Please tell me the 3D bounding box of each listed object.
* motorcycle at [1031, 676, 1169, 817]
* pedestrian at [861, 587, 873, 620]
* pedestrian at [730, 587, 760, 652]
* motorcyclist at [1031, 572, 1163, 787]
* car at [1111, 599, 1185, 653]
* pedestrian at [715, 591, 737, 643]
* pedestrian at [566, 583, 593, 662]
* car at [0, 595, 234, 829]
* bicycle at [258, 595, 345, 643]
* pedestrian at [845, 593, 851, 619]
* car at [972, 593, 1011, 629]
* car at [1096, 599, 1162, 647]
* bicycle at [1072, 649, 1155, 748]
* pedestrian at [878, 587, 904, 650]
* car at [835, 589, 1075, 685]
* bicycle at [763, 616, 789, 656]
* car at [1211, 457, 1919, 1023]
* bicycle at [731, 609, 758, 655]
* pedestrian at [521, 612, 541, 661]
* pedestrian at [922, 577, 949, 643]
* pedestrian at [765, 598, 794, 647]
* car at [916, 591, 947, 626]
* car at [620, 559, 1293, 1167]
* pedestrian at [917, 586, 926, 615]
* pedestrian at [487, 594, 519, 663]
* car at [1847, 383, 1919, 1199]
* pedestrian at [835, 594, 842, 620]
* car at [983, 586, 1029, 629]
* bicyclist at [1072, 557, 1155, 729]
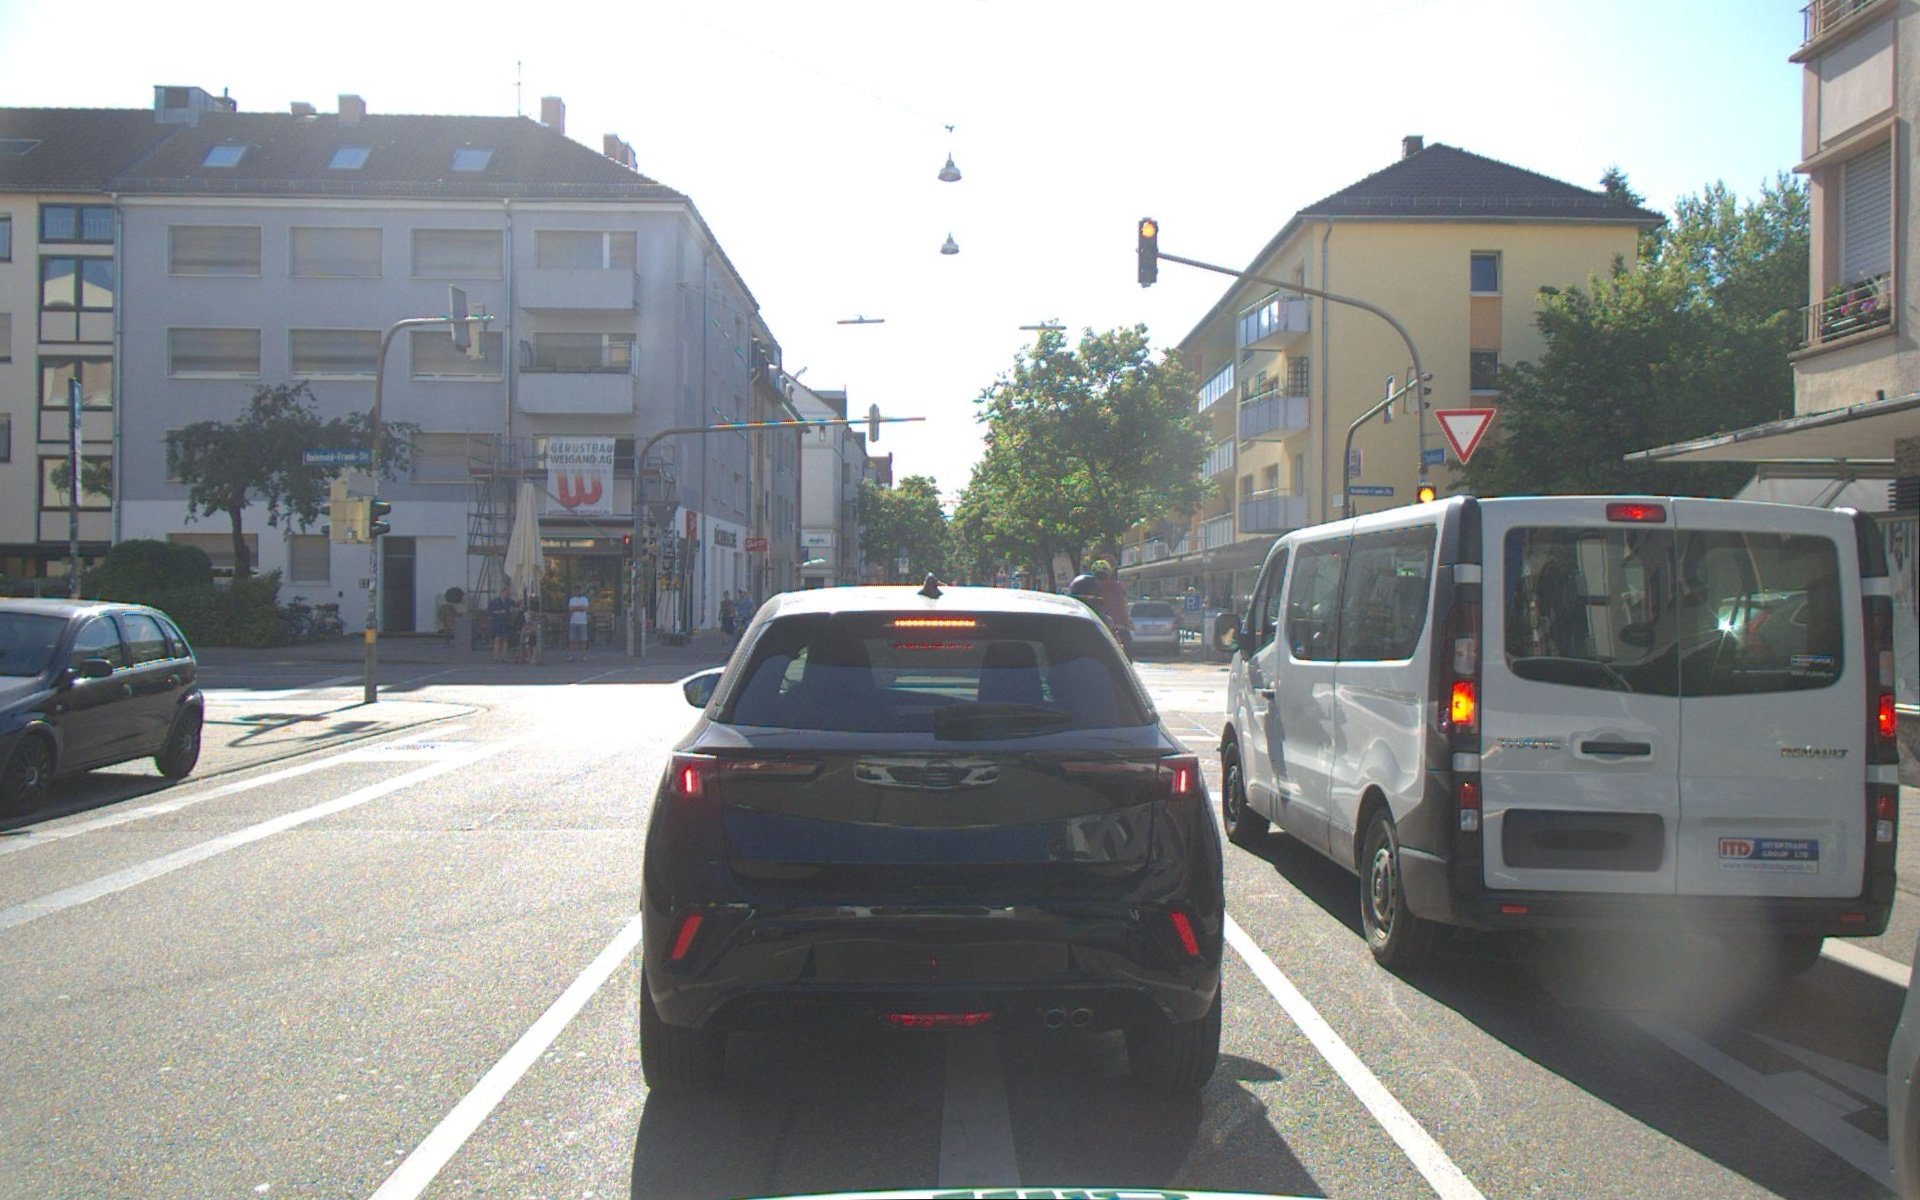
[{"bbox_3d":[0.986,1.037,12.138,0.808,0.860,1.884,0,0,-1],"label":"motorcycle"},{"bbox_3d":[-4.849,0.199,86.074,0.558,1.719,0.588,0,0,6],"label":"pedestrian"},{"bbox_3d":[-5.659,0.506,43.585,0.692,1.707,0.802,0,0,-3],"label":"pedestrian"},{"bbox_3d":[1.004,0.567,12.381,0.846,1.528,1.159,0,0,-2],"label":"motorcyclist"},{"bbox_3d":[5.319,0.719,47.241,1.601,1.458,3.956,0,0,-1],"label":"car"},{"bbox_3d":[-6.993,0.500,49.399,0.605,1.547,0.724,0,0,-4],"label":"pedestrian"},{"bbox_3d":[-8.732,0.517,37.949,0.550,1.806,0.582,1,0,-9],"label":"pedestrian"},{"bbox_3d":[-7.067,0.726,12.429,1.584,1.450,3.709,3,0,-1],"label":"car"},{"bbox_3d":[-16.920,0.480,42.496,2.067,1.193,0.735,0,0,-25],"label":"bicycle"},{"bbox_3d":[-7.302,0.383,108.014,0.394,1.704,0.417,0,0,-1],"label":"pedestrian"},{"bbox_3d":[1.569,0.530,83.283,1.863,1.758,4.000,0,0,0],"label":"car"},{"bbox_3d":[5.275,0.694,51.994,1.601,1.458,3.999,0,0,-1],"label":"car"},{"bbox_3d":[1.609,1.015,17.617,0.565,0.920,2.300,0,0,-3],"label":"bicycle"},{"bbox_3d":[-1.829,0.483,43.731,0.666,1.634,0.762,0,0,-3],"label":"pedestrian"},{"bbox_3d":[-0.089,0.597,27.927,3.906,1.512,1.833,-1,0,-1],"label":"car"},{"bbox_3d":[-4.864,0.931,43.847,0.511,1.010,2.338,0,0,-3],"label":"bicycle"},{"bbox_3d":[2.725,0.513,8.501,1.953,2.014,4.894,2,0,-2],"label":"car"},{"bbox_3d":[-5.708,0.840,43.817,0.511,1.167,2.282,0,0,-3],"label":"bicycle"},{"bbox_3d":[-9.674,0.819,37.268,0.348,1.111,0.461,0,0,-4],"label":"pedestrian"},{"bbox_3d":[-0.644,0.259,43.556,0.692,1.731,0.802,0,0,-3],"label":"pedestrian"},{"bbox_3d":[-4.749,0.577,43.455,0.692,1.275,0.802,0,0,-3],"label":"pedestrian"},{"bbox_3d":[-1.679,0.486,97.275,1.817,2.049,3.880,0,0,-1],"label":"car"},{"bbox_3d":[-0.087,0.673,6.280,1.735,1.557,3.998,0,0,-3],"label":"car"},{"bbox_3d":[-2.309,0.024,98.970,0.478,1.719,0.588,0,0,-1],"label":"pedestrian"},{"bbox_3d":[-10.303,0.629,37.304,0.573,1.547,0.649,0,0,-4],"label":"pedestrian"},{"bbox_3d":[3.029,0.513,1.264,1.800,1.901,4.993,0,0,-3],"label":"car"},{"bbox_3d":[-7.972,0.435,108.425,0.394,1.704,0.417,0,0,-1],"label":"pedestrian"},{"bbox_3d":[1.886,0.292,69.179,1.863,1.758,4.073,0,0,1],"label":"car"},{"bbox_3d":[1.608,0.434,17.512,0.675,1.742,1.413,0,0,-3],"label":"bicyclist"}]
